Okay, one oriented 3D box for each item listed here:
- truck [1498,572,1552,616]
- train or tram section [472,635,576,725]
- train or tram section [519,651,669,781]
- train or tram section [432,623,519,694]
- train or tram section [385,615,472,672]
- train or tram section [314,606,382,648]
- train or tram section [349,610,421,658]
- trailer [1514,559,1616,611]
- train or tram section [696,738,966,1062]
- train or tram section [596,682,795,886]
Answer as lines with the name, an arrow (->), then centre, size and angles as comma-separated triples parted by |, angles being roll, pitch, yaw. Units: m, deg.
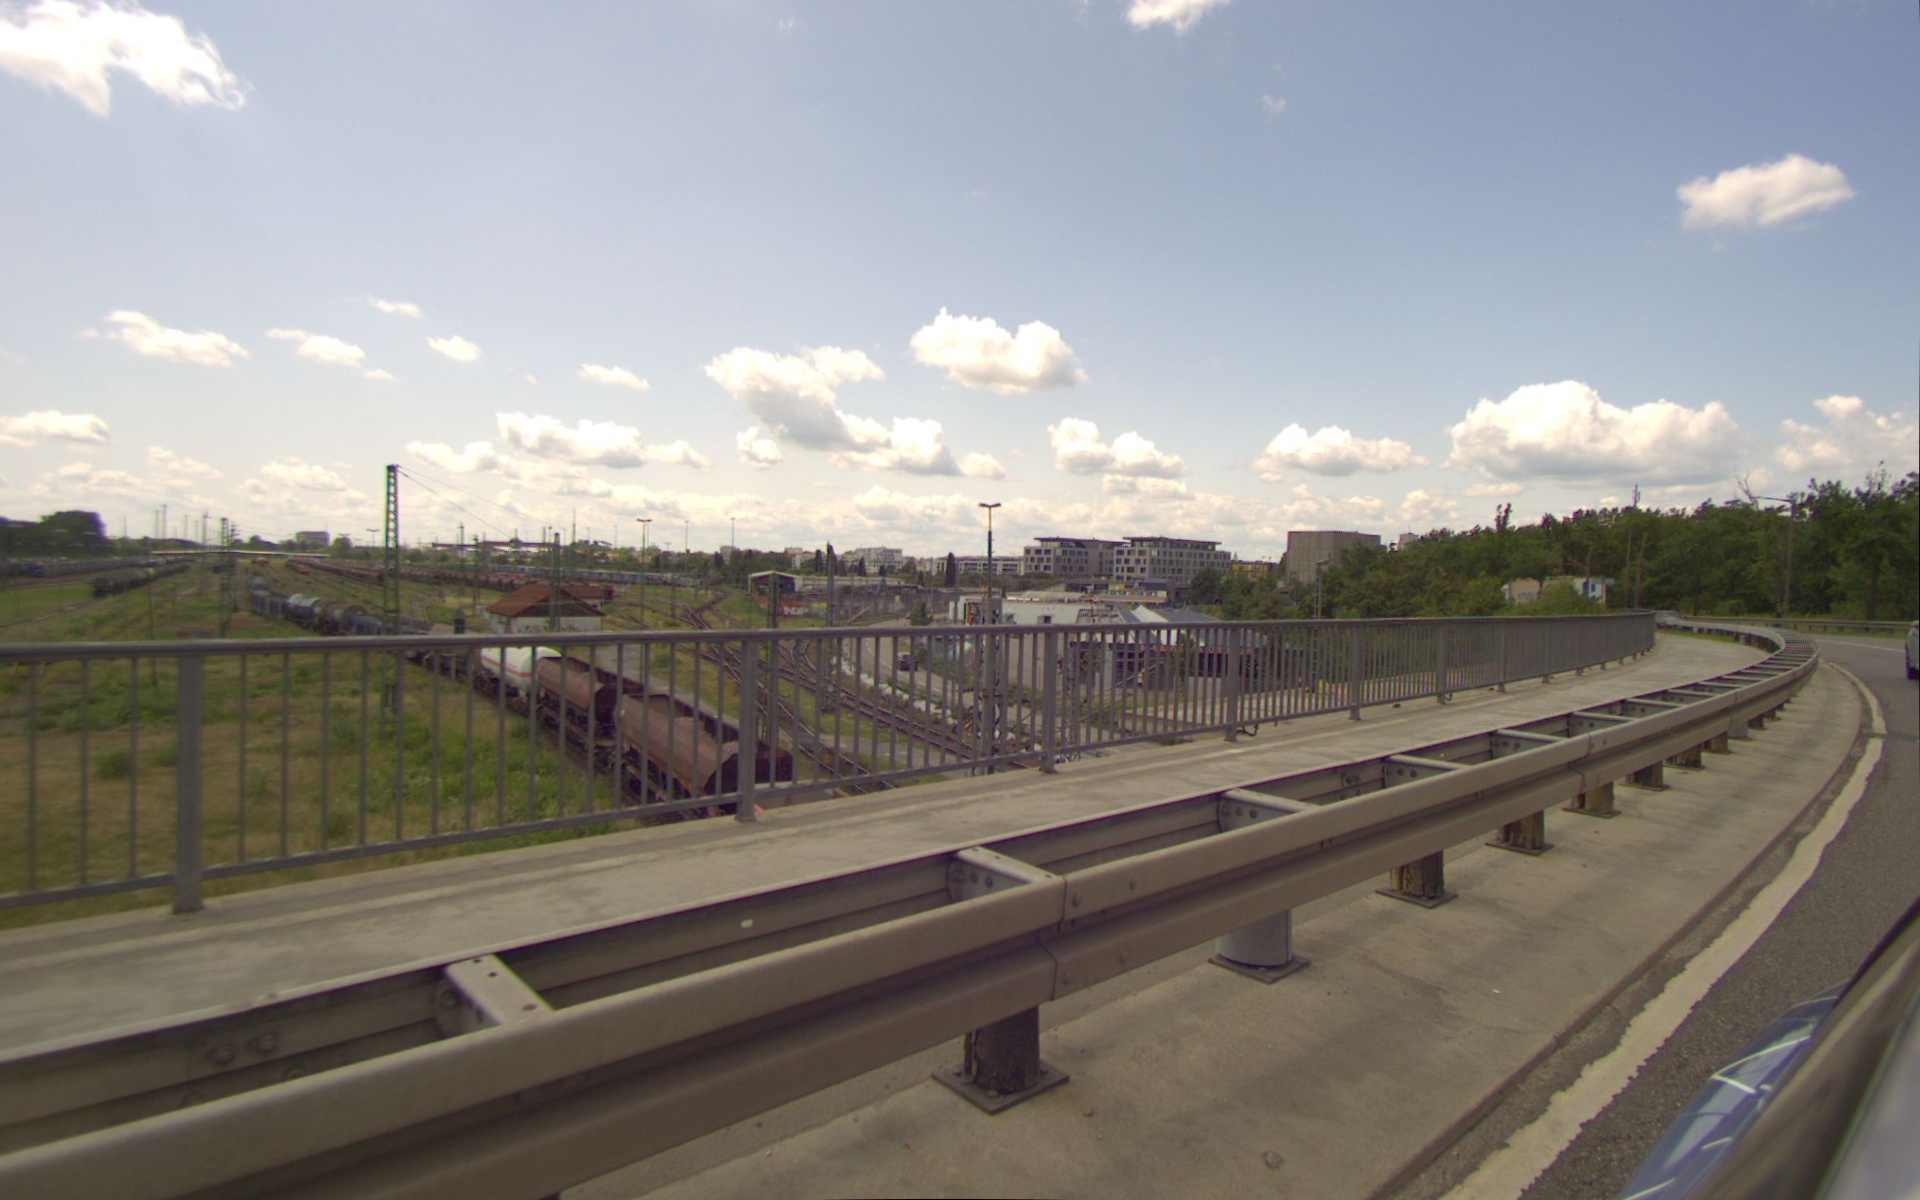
truck -> 55.790, -0.591, 100.048 | 2.723, 4.187, 5.640 | 0, 0, 8
train or tram section -> -30.067, 5.093, 69.058 | 3.158, 4.202, 16.970 | -3, 4, -34
train or tram section -> -20.065, 5.638, 54.074 | 3.159, 4.202, 18.911 | -3, 4, -33
train or tram section -> -40.099, 4.513, 83.222 | 3.154, 4.202, 17.695 | -3, 4, -36
train or tram section -> -51.259, 3.972, 97.181 | 3.159, 4.202, 17.667 | -4, 4, -41
train or tram section -> -73.514, 3.090, 121.315 | 3.162, 4.202, 15.922 | -4, 4, -45
train or tram section -> -62.517, 3.520, 109.738 | 3.160, 4.202, 15.934 | -4, 4, -42
trailer -> 54.673, -1.239, 92.030 | 2.670, 4.334, 14.195 | 0, 0, 9
train or tram section -> -3.949, 6.783, 26.140 | 3.066, 4.202, 12.090 | -3, 3, -26
train or tram section -> -10.779, 6.272, 38.865 | 3.079, 4.202, 16.630 | -3, 3, -30
